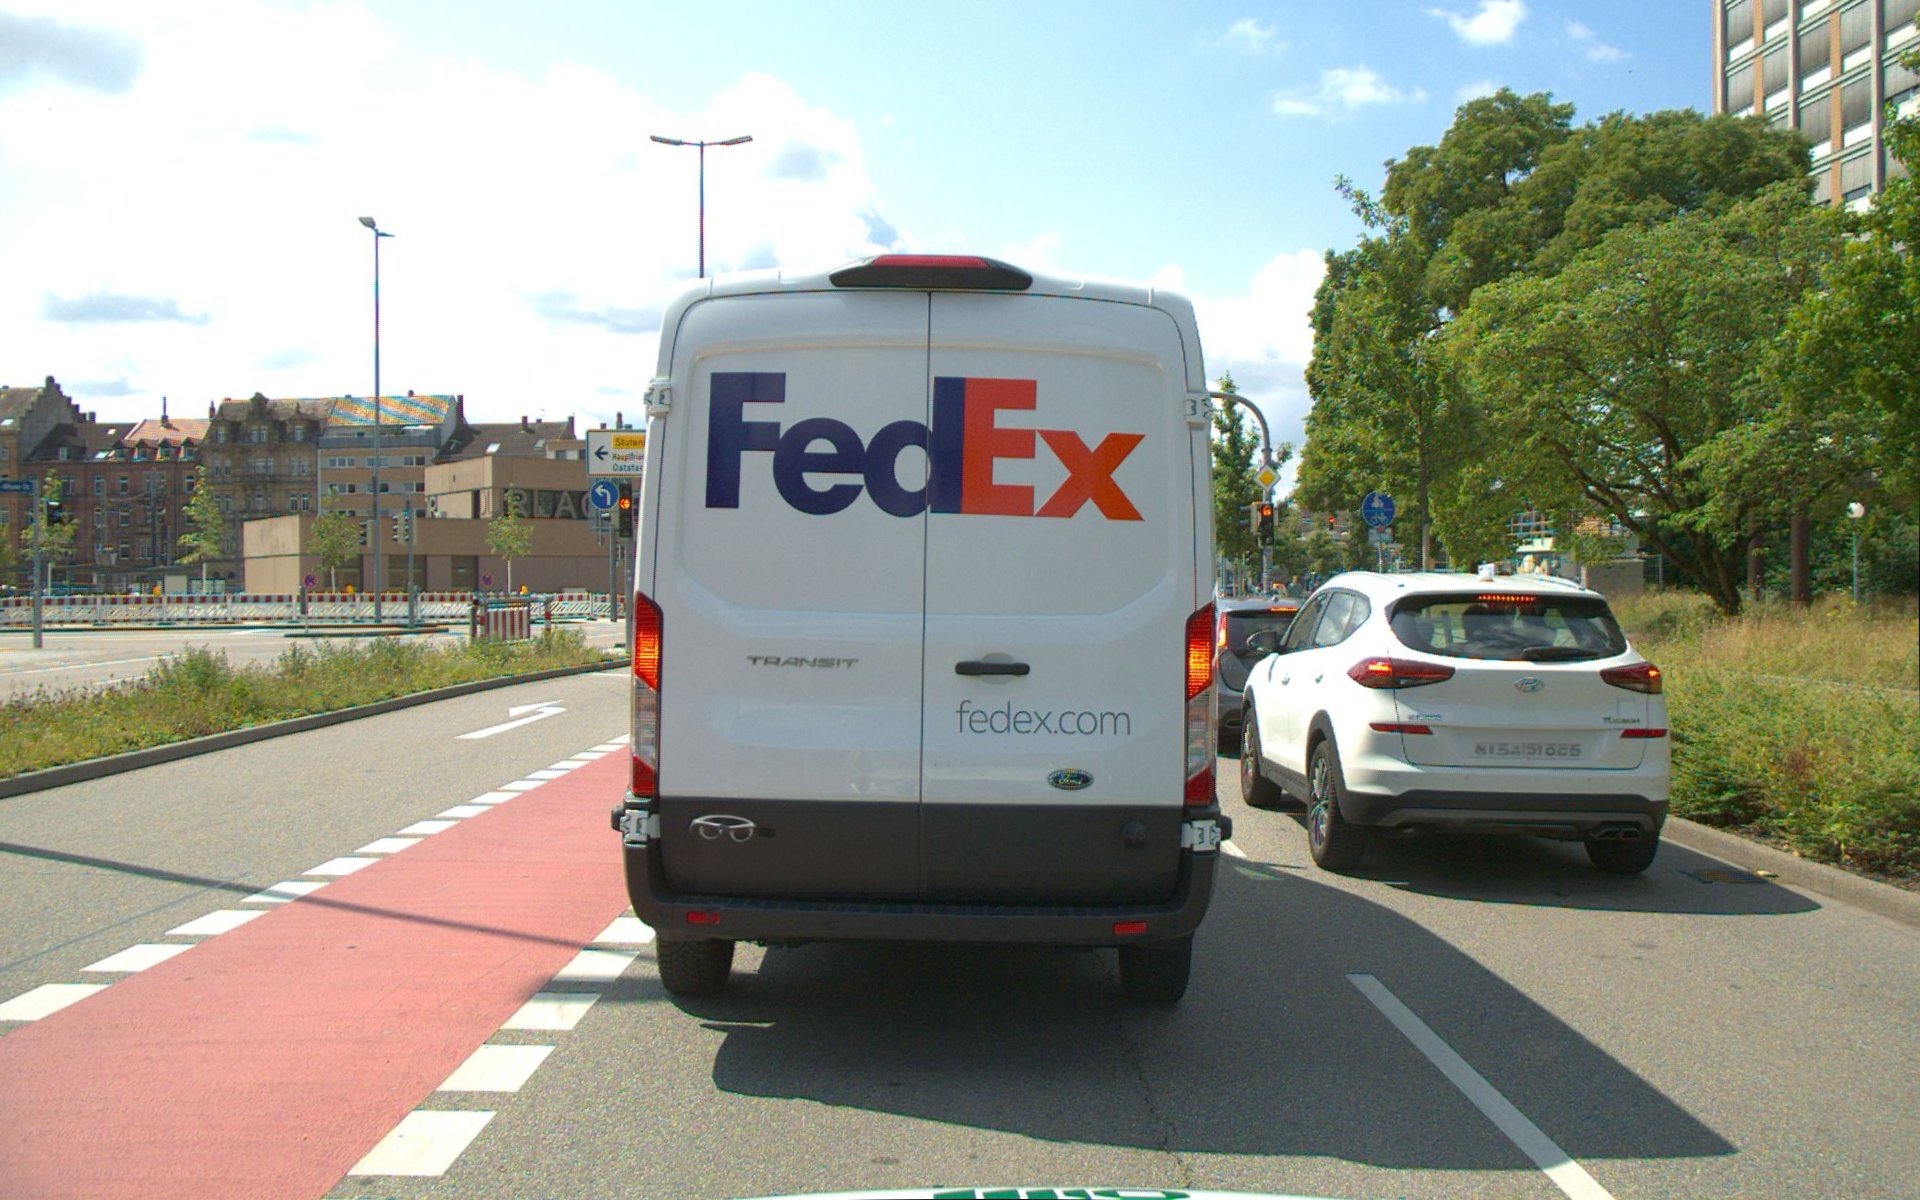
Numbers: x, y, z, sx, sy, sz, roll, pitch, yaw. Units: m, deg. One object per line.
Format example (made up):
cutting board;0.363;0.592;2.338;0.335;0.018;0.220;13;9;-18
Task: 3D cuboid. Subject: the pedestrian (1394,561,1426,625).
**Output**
pedestrian;12.918;-0.200;47.451;0.743;1.820;0.816;0;0;4

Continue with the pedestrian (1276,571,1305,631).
pedestrian;10.520;0.016;52.642;0.743;1.882;0.816;0;0;1

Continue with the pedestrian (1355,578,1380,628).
pedestrian;15.460;0.110;62.709;0.743;1.882;0.816;0;0;0

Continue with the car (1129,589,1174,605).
car;18.509;-0.283;159.803;4.147;1.524;1.740;0;1;-1

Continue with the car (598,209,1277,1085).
car;-0.039;0.119;7.194;2.030;2.626;4.428;0;1;1

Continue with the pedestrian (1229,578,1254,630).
pedestrian;10.229;0.129;60.102;0.796;1.882;0.761;0;0;2

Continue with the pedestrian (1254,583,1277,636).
pedestrian;10.927;0.344;59.210;0.742;1.882;0.817;0;0;14

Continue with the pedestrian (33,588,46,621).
pedestrian;-47.930;0.228;86.101;0.416;1.681;0.416;1;-1;33

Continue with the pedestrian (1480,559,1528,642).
pedestrian;11.268;0.002;34.272;0.743;1.684;0.816;0;0;3

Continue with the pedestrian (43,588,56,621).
pedestrian;-47.181;0.239;85.686;0.416;1.681;0.416;1;-1;33

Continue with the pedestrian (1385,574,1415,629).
pedestrian;15.004;0.043;56.397;0.745;1.882;0.814;0;0;-9

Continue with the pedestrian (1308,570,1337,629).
pedestrian;11.577;-0.020;52.835;0.743;1.882;0.816;0;0;3

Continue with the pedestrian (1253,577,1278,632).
pedestrian;10.488;0.148;56.847;0.743;1.882;0.816;0;0;18

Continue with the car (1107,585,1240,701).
car;2.937;0.549;23.332;1.468;1.489;3.474;0;1;1

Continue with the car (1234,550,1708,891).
car;2.906;0.586;10.324;1.777;1.708;3.974;0;1;1

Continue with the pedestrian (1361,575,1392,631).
pedestrian;14.112;0.086;56.103;0.745;1.882;0.814;-1;0;-11

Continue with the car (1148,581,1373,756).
car;2.930;0.597;16.846;1.656;1.576;3.721;0;1;1
